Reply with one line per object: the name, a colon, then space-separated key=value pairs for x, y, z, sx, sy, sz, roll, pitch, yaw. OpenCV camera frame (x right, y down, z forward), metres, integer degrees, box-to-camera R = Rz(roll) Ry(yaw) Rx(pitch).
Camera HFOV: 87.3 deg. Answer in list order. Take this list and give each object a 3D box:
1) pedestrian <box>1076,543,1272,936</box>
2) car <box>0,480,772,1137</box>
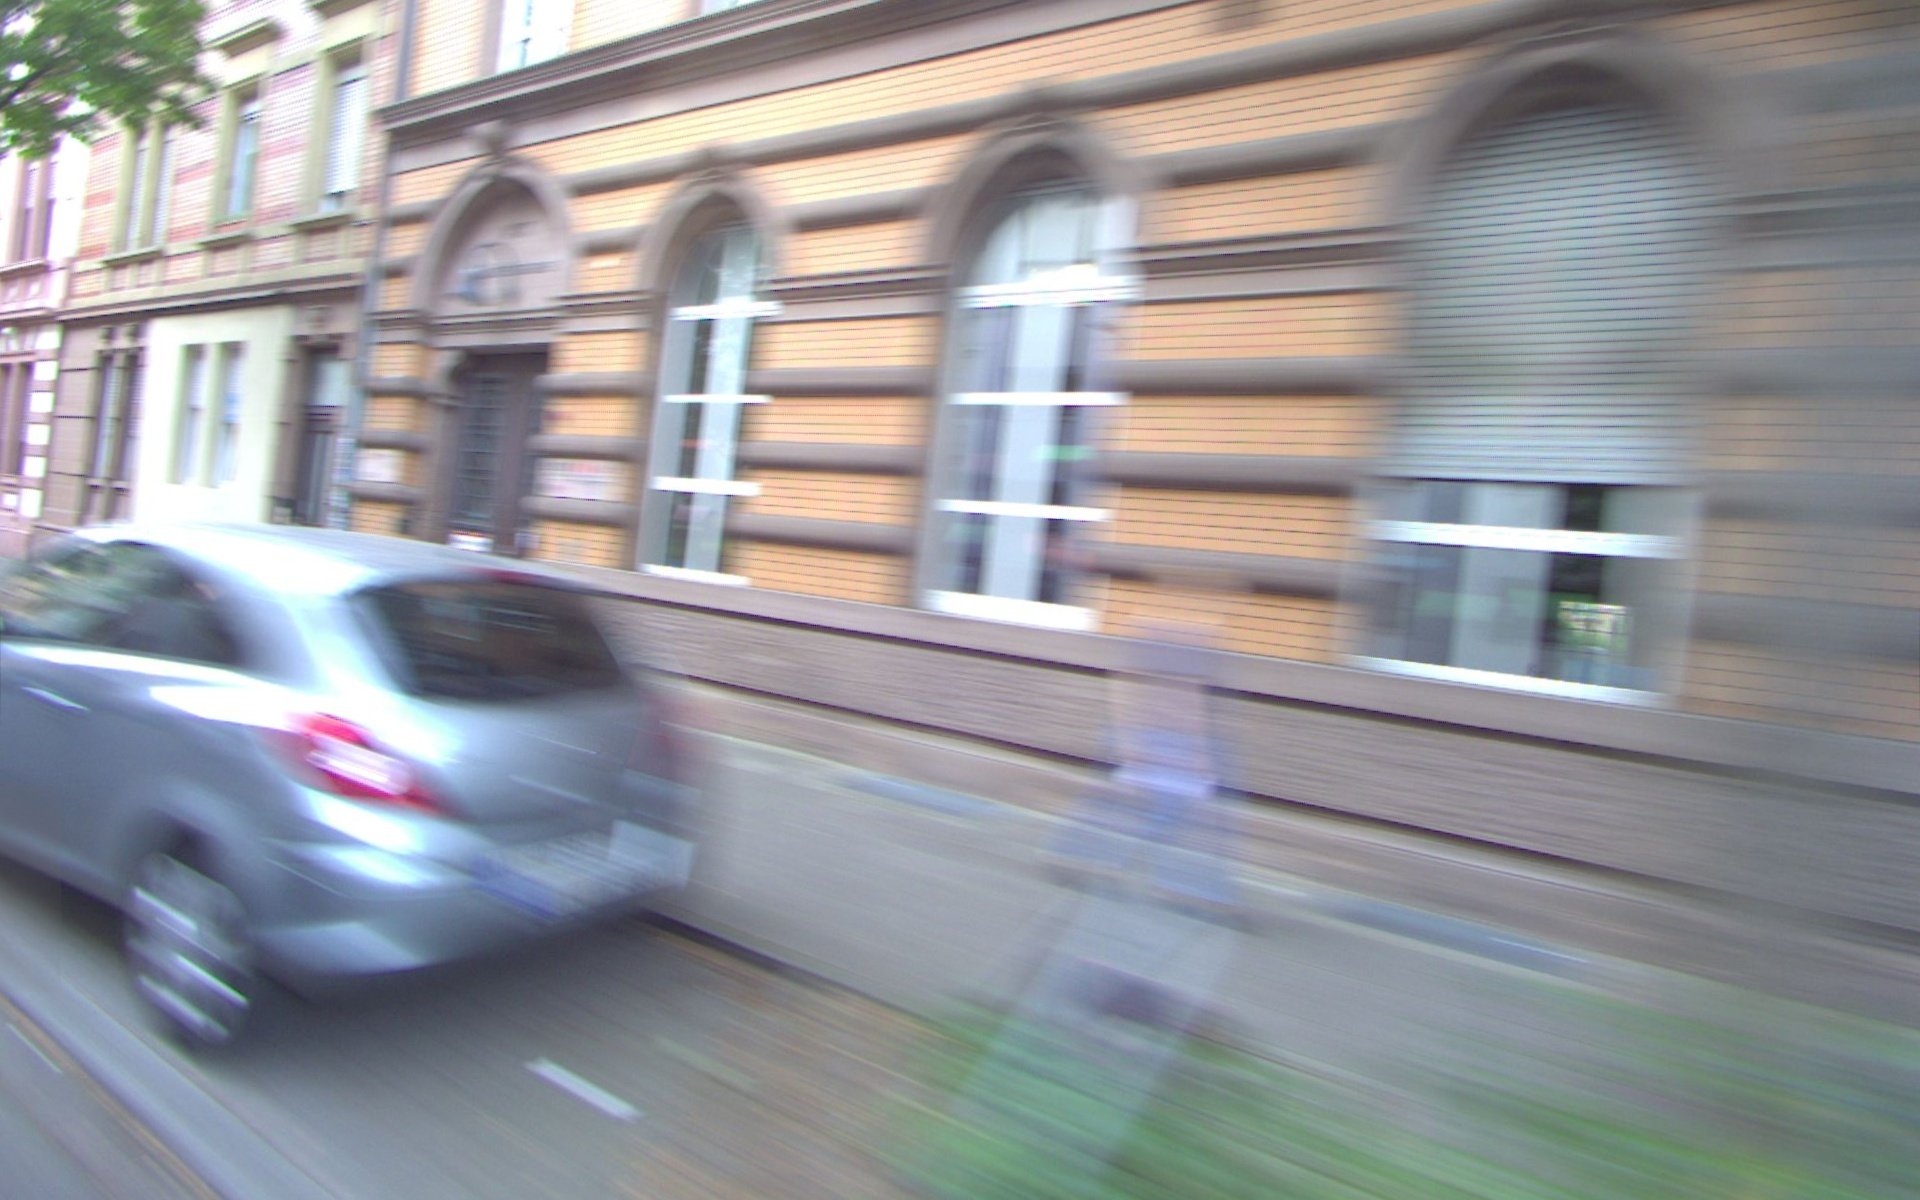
pedestrian: x=1.018 y=0.621 z=4.734 sx=0.523 sy=1.668 sz=0.628 roll=8 pitch=0 yaw=32
car: x=-2.902 y=0.382 z=4.126 sx=3.932 sy=1.502 sz=1.699 roll=7 pitch=2 yaw=30
